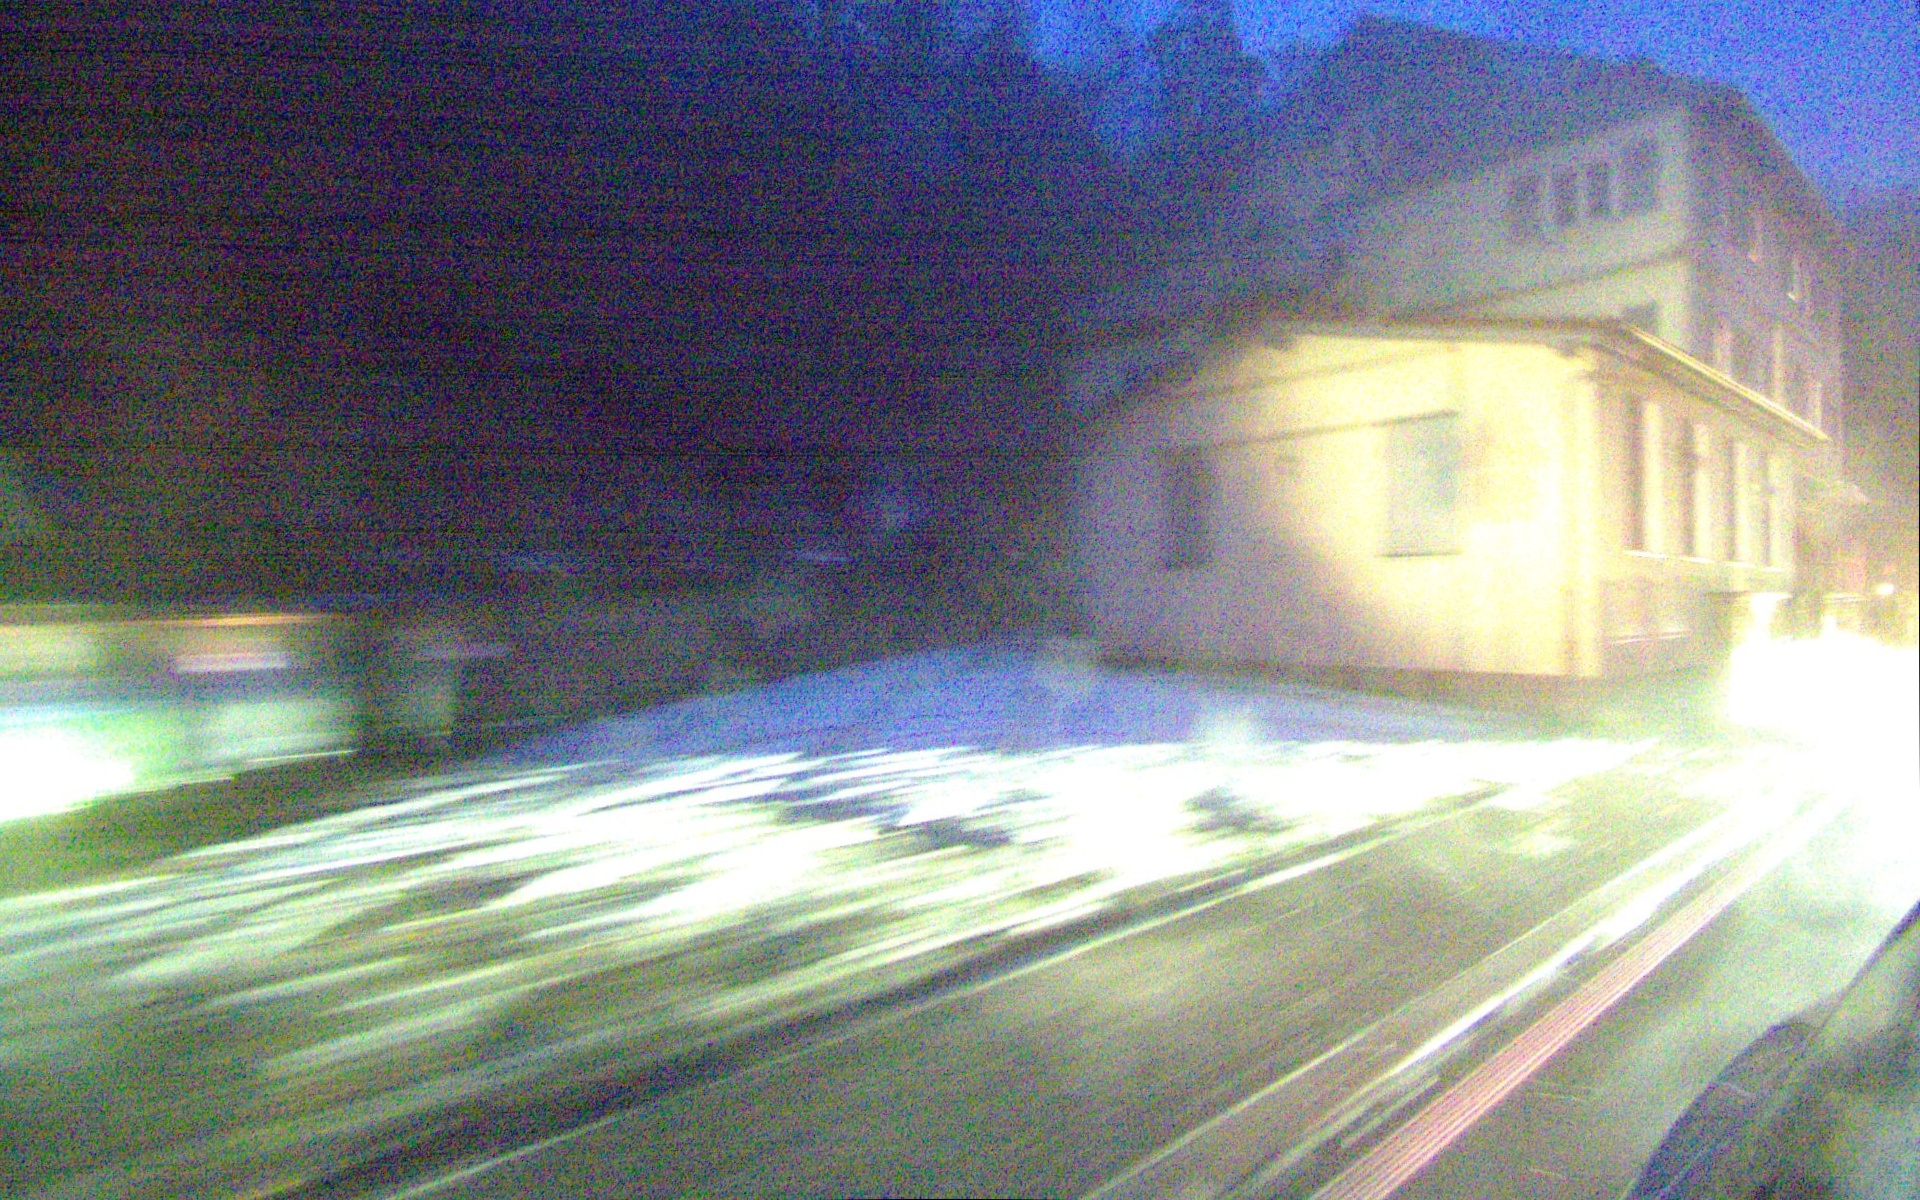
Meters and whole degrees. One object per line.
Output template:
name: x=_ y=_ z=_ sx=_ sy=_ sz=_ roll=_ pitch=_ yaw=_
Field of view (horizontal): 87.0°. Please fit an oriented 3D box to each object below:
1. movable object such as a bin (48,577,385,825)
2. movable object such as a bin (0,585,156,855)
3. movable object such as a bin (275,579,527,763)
movable object such as a bin: x=-4.965 y=0.581 z=6.859 sx=1.236 sy=1.430 sz=1.383 roll=1 pitch=2 yaw=20
movable object such as a bin: x=-5.328 y=0.599 z=5.380 sx=1.137 sy=1.342 sz=1.227 roll=1 pitch=1 yaw=15
movable object such as a bin: x=-4.518 y=0.507 z=8.274 sx=1.236 sy=1.314 sz=1.310 roll=1 pitch=2 yaw=20
